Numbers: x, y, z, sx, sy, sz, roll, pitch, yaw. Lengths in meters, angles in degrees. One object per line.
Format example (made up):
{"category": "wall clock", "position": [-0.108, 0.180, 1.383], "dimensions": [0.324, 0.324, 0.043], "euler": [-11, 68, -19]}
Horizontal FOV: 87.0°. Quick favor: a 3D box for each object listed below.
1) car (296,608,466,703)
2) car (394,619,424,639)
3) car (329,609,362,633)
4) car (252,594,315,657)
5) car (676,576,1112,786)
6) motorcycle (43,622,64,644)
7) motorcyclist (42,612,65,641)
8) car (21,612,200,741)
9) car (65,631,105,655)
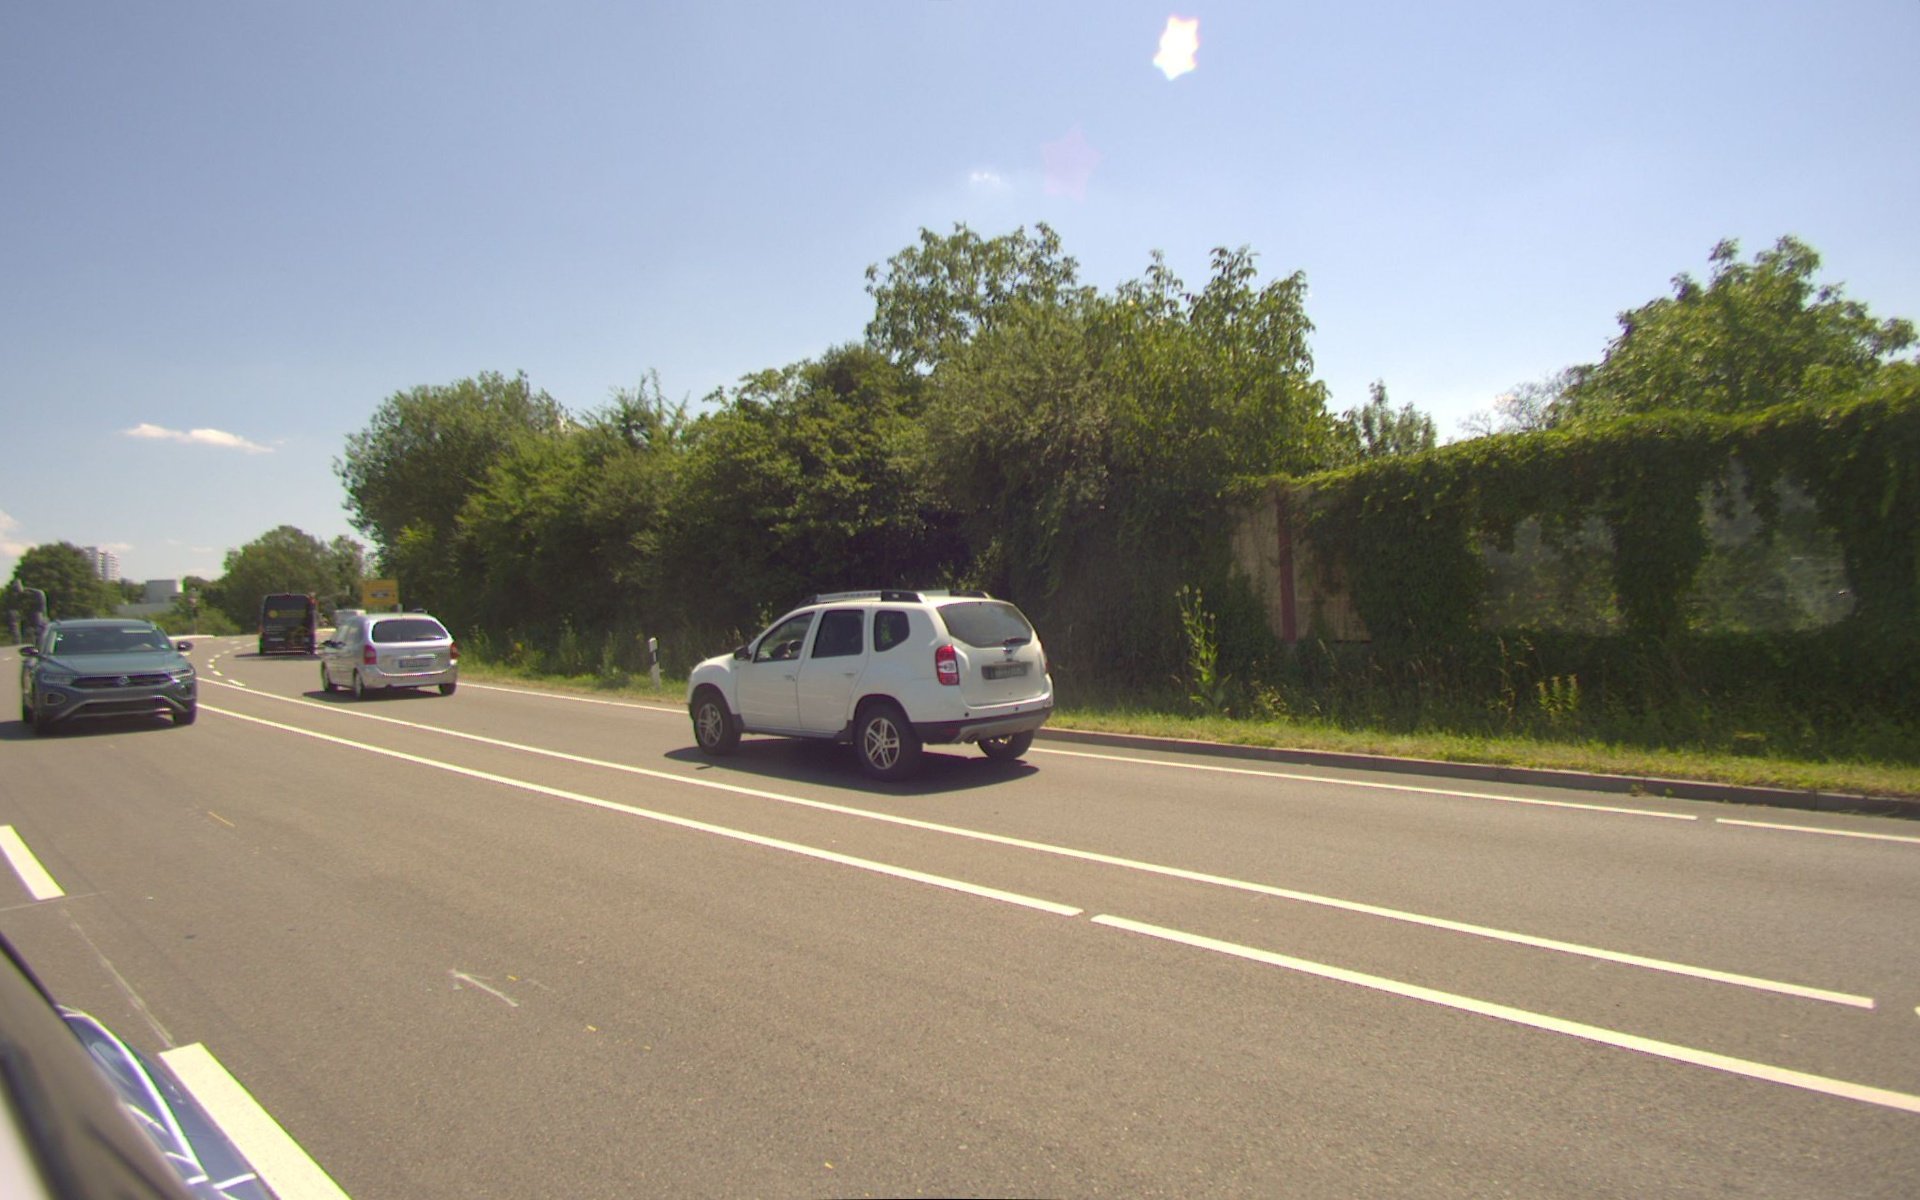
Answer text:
{"category": "car", "position": [-11.662, 1.037, 20.215], "dimensions": [1.816, 1.605, 4.820], "euler": [-2, 0, -44]}
{"category": "car", "position": [-60.795, 3.217, 111.586], "dimensions": [1.949, 2.028, 4.848], "euler": [-4, 0, -39]}
{"category": "car", "position": [-55.705, 1.917, 91.890], "dimensions": [2.047, 2.029, 5.826], "euler": [-2, 0, -27]}
{"category": "car", "position": [-30.014, 1.078, 45.010], "dimensions": [2.158, 2.560, 6.053], "euler": [-2, 0, -33]}
{"category": "car", "position": [-0.806, 0.679, 10.056], "dimensions": [4.196, 1.641, 1.972], "euler": [-2, -1, 43]}
{"category": "motorcycle", "position": [-47.855, 1.758, 53.417], "dimensions": [0.724, 1.147, 2.074], "euler": [1, -3, -45]}
{"category": "motorcyclist", "position": [-47.804, 1.407, 53.363], "dimensions": [1.162, 1.500, 0.848], "euler": [-3, -3, 45]}
{"category": "car", "position": [-12.757, 1.029, 15.096], "dimensions": [1.813, 1.598, 4.395], "euler": [-1, -1, -43]}
{"category": "car", "position": [-63.001, 3.063, 72.935], "dimensions": [2.086, 1.603, 4.458], "euler": [-1, 0, -40]}
